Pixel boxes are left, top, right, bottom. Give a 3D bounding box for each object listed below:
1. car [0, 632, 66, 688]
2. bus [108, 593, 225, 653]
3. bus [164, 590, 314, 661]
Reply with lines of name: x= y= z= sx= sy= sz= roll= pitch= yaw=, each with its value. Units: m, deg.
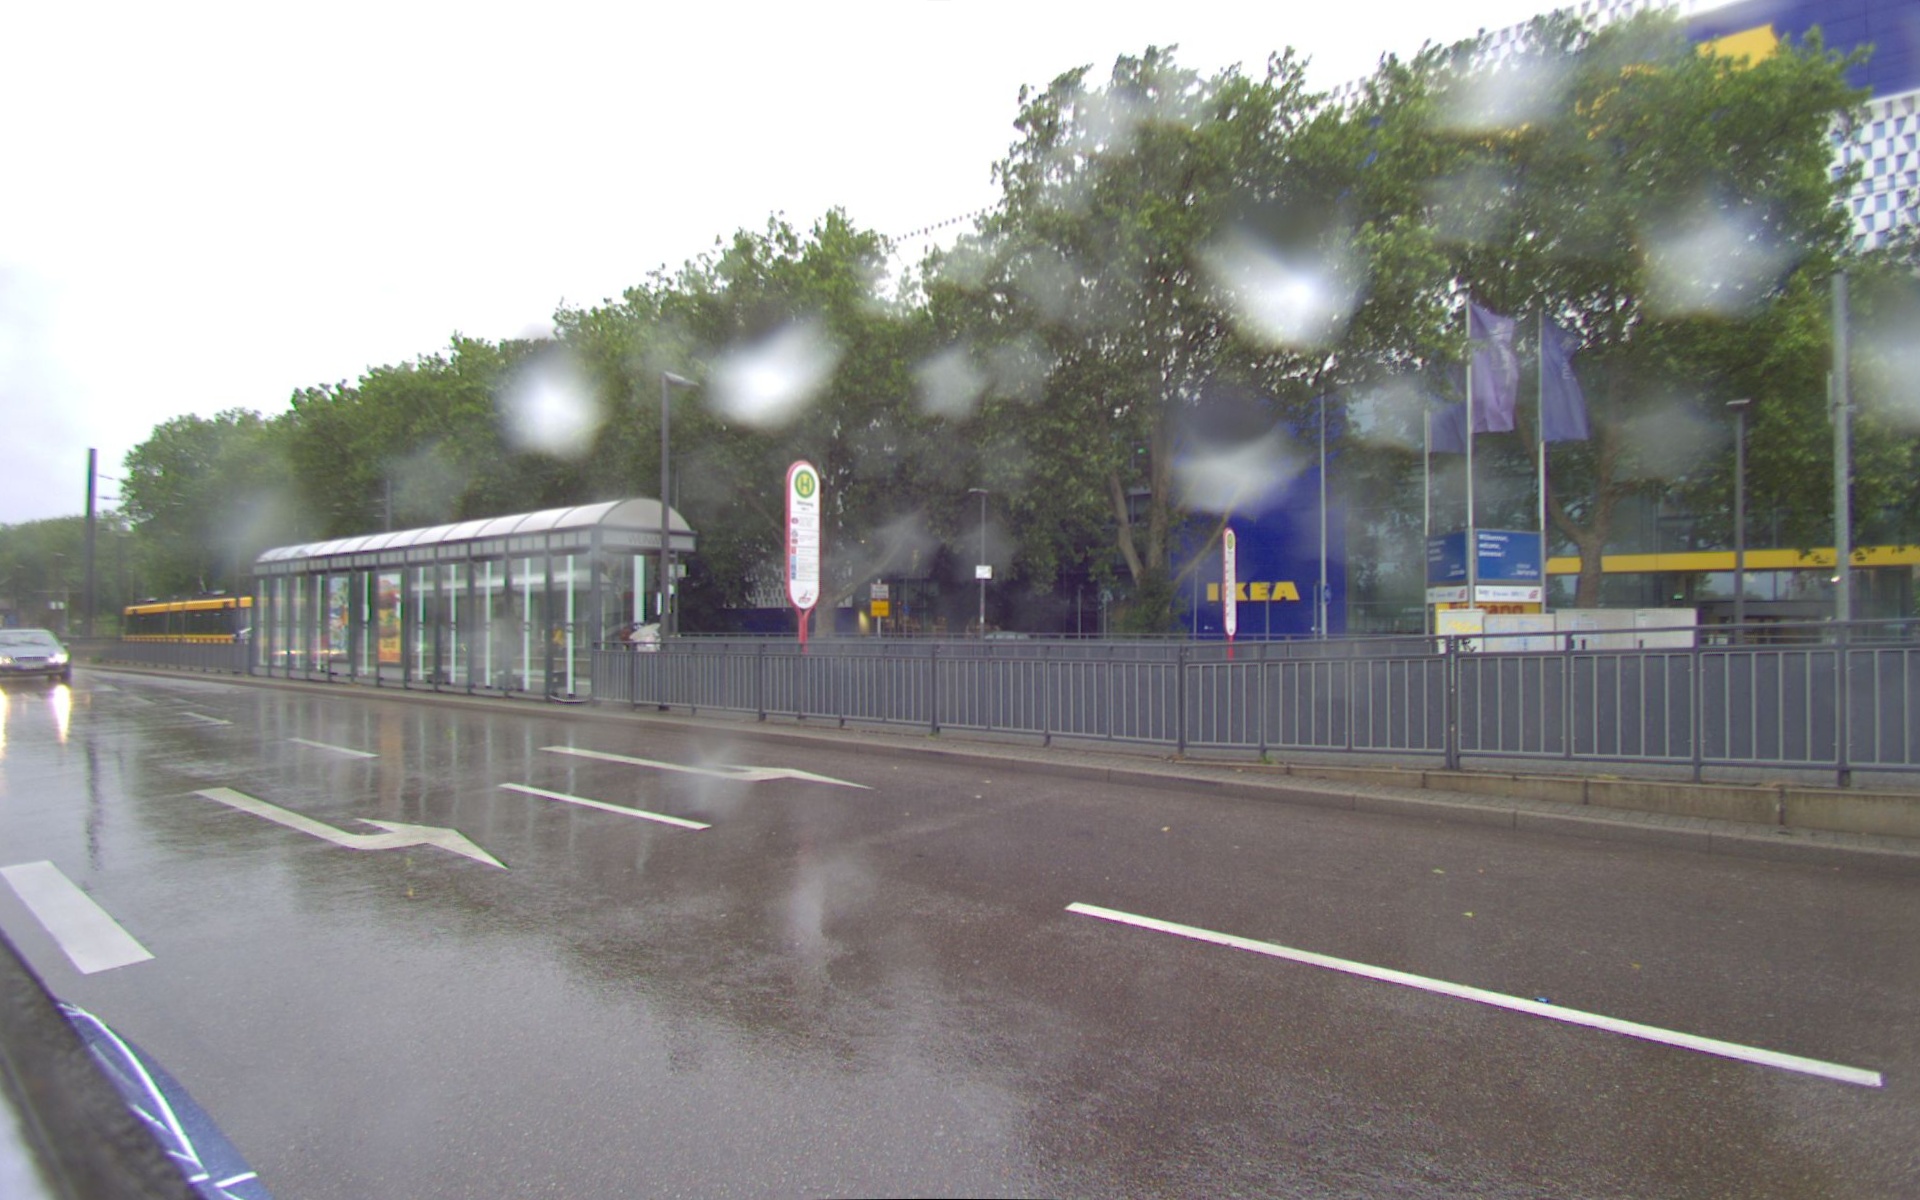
car: x=-26.686 y=1.640 z=28.564 sx=4.645 sy=1.409 sz=1.743 roll=-1 pitch=0 yaw=43
bus: x=-49.816 y=1.370 z=63.257 sx=15.054 sy=3.354 sz=2.901 roll=-1 pitch=0 yaw=41
bus: x=-38.316 y=1.249 z=53.373 sx=15.053 sy=3.354 sz=2.901 roll=-1 pitch=0 yaw=41
